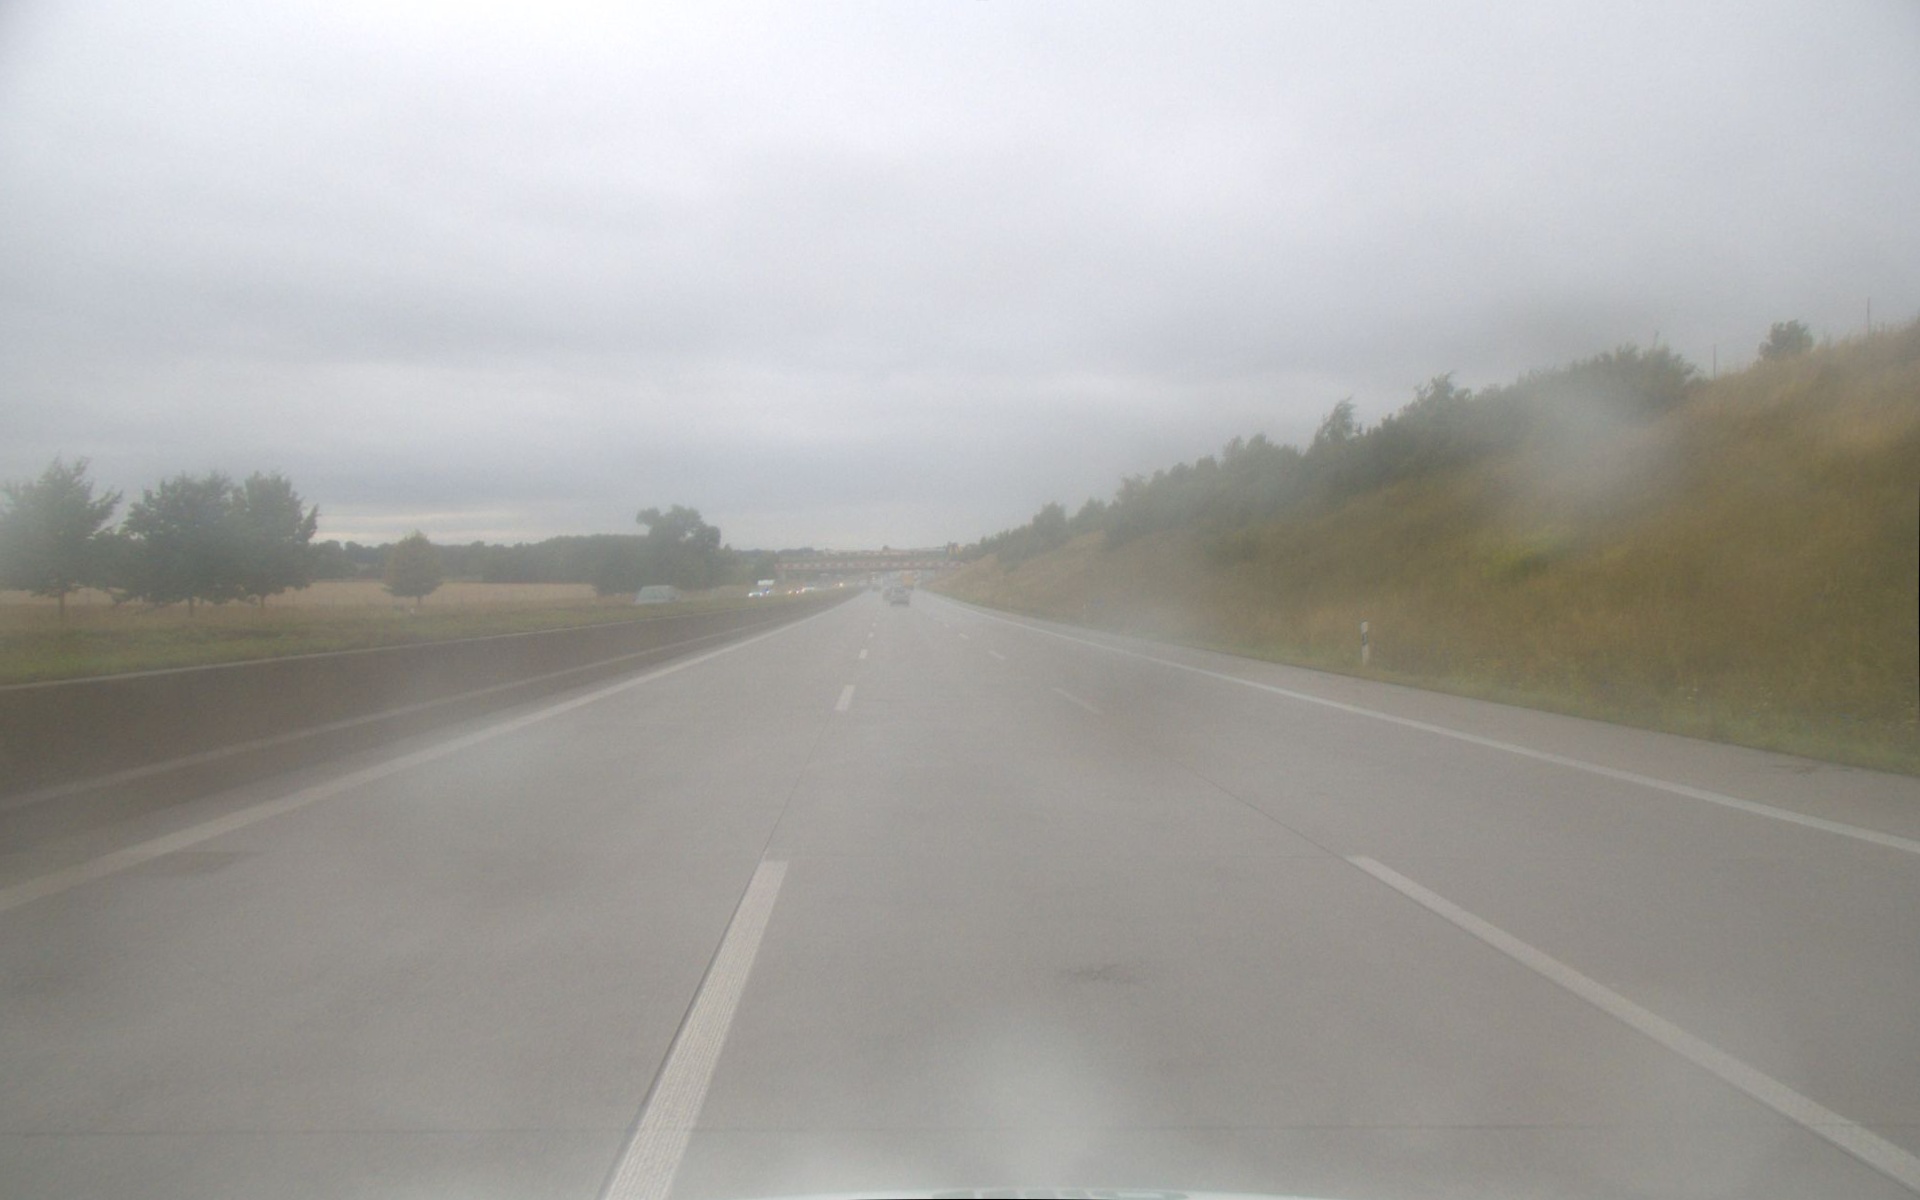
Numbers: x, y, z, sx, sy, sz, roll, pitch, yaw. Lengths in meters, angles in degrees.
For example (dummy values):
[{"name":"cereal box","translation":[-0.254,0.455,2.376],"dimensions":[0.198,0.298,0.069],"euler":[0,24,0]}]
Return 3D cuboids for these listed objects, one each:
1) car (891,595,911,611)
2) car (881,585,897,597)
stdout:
[{"name":"car","translation":[-5.581,0.261,156.109],"dimensions":[1.811,1.354,4.427],"euler":[1,2,-4]},{"name":"car","translation":[-8.098,-1.039,189.175],"dimensions":[1.695,1.354,4.427],"euler":[0,2,-4]}]
